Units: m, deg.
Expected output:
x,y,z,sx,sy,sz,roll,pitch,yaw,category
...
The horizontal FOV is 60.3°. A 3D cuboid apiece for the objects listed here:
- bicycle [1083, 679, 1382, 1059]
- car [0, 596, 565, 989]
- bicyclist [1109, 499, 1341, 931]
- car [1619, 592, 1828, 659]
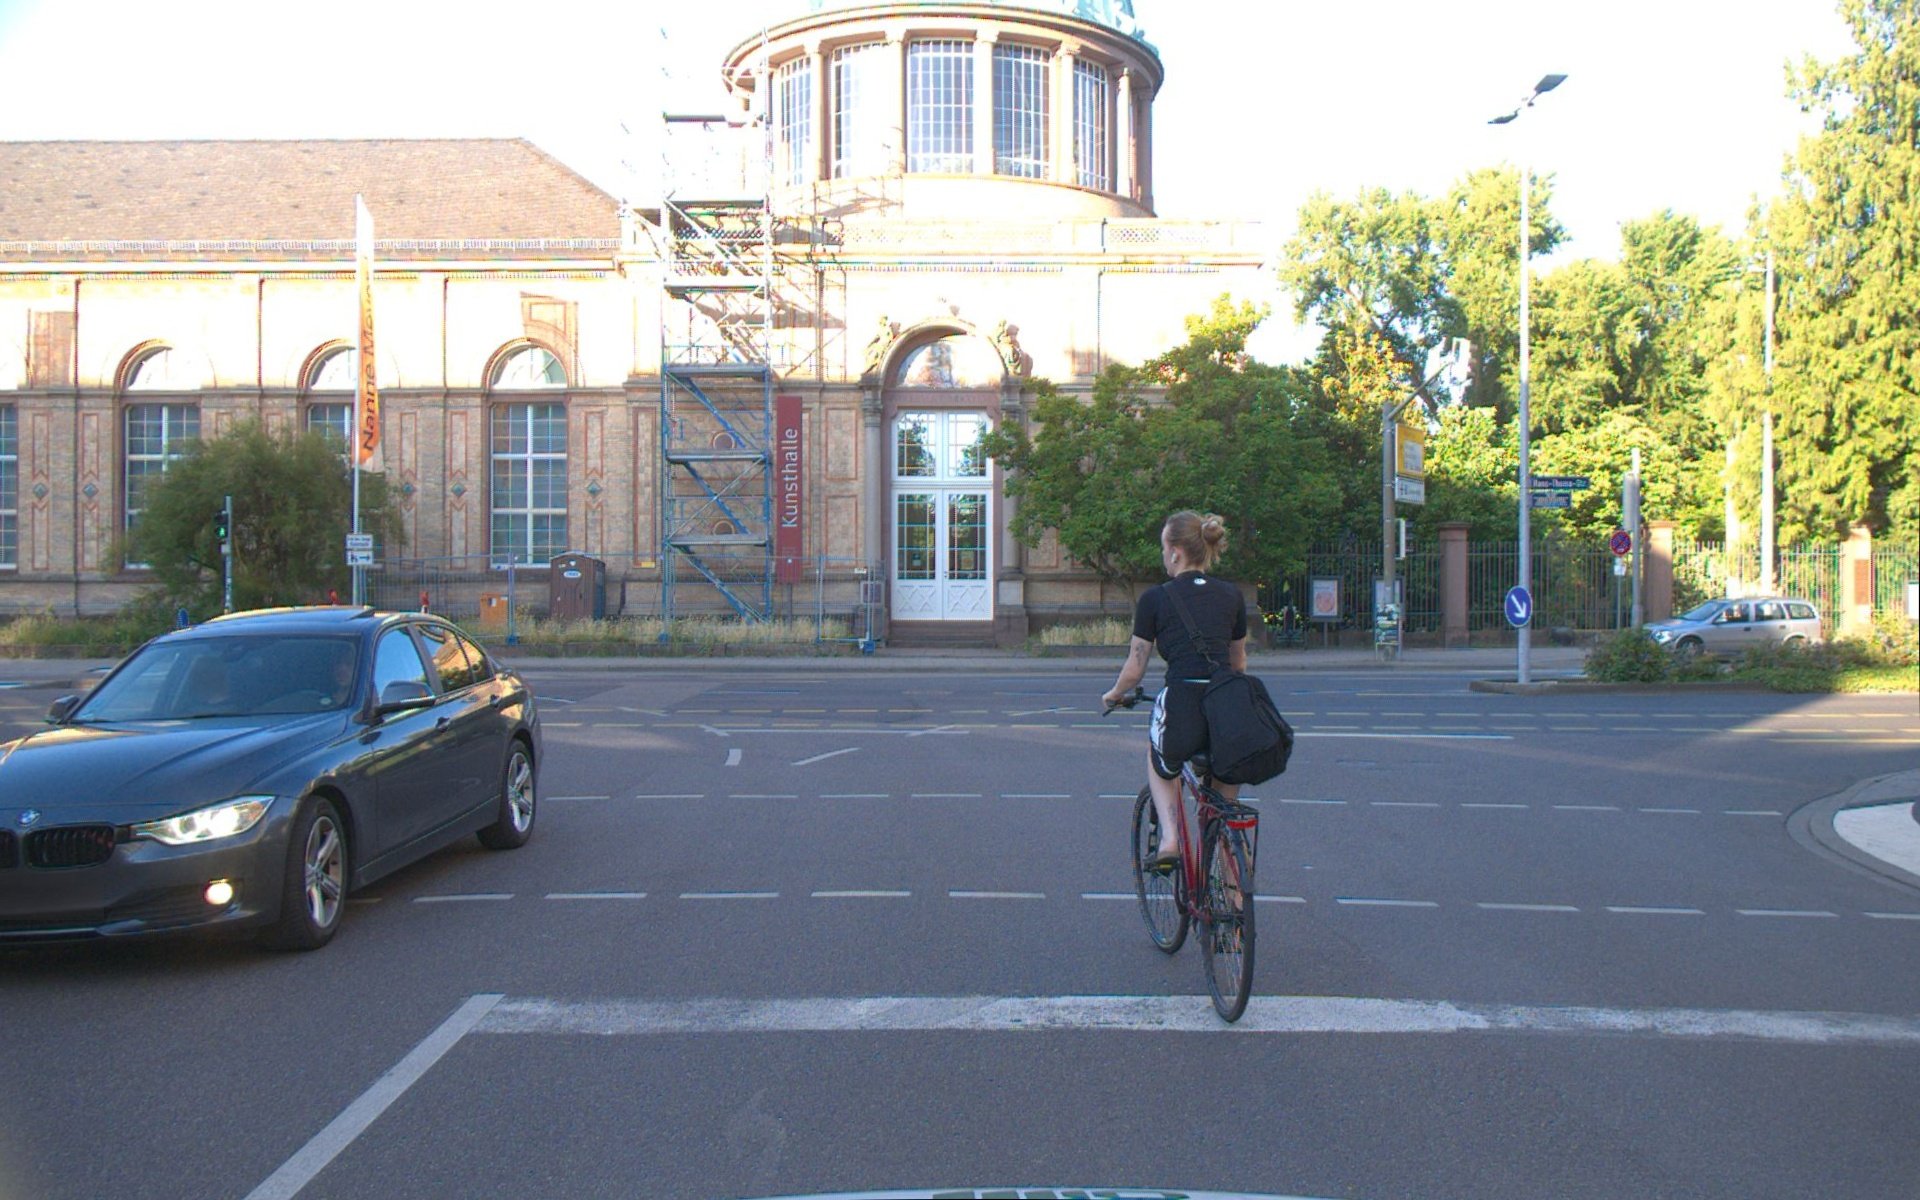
x,y,z,sx,sy,sz,roll,pitch,yaw,category
0.966,0.923,6.431,0.697,1.176,2.067,0,-1,-4,bicycle
-3.545,0.748,8.534,1.745,1.485,4.425,-1,0,3,car
0.981,0.416,6.310,0.702,1.529,0.850,0,-2,-3,bicyclist
17.584,0.570,38.180,4.104,1.470,1.713,0,0,-6,car
